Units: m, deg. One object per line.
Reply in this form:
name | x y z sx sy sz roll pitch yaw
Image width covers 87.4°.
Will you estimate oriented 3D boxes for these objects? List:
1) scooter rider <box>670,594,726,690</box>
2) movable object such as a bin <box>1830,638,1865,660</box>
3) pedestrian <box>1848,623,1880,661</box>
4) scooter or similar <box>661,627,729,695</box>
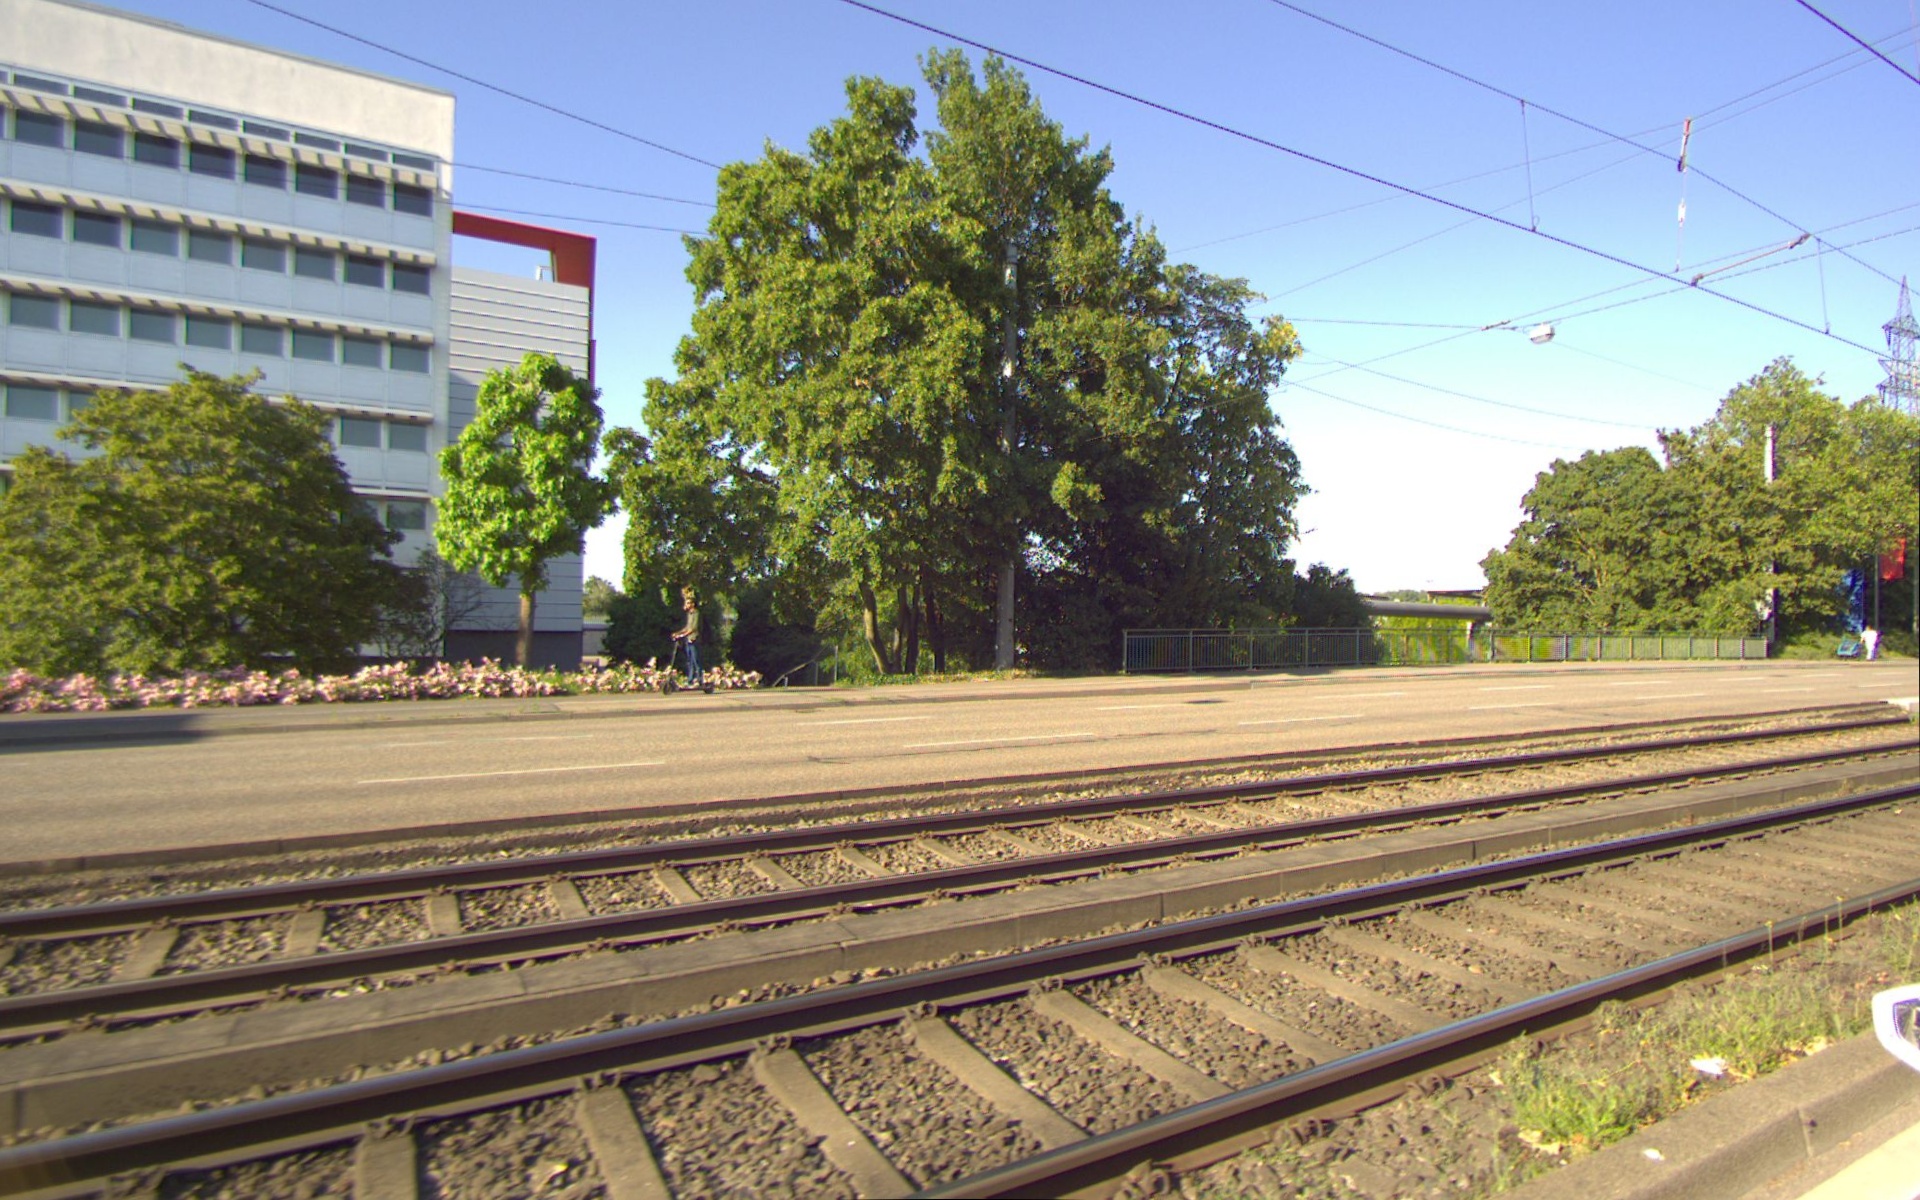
scooter rider | -5.261 0.840 20.146 0.986 1.873 0.680 1 -1 -23
movable object such as a bin | 43.556 2.411 49.307 1.081 0.974 0.725 3 1 -9
pedestrian | 44.505 2.054 49.455 0.820 1.780 0.725 3 1 -9
scooter or similar | -5.310 1.211 20.111 1.245 1.313 0.470 1 -1 -24
